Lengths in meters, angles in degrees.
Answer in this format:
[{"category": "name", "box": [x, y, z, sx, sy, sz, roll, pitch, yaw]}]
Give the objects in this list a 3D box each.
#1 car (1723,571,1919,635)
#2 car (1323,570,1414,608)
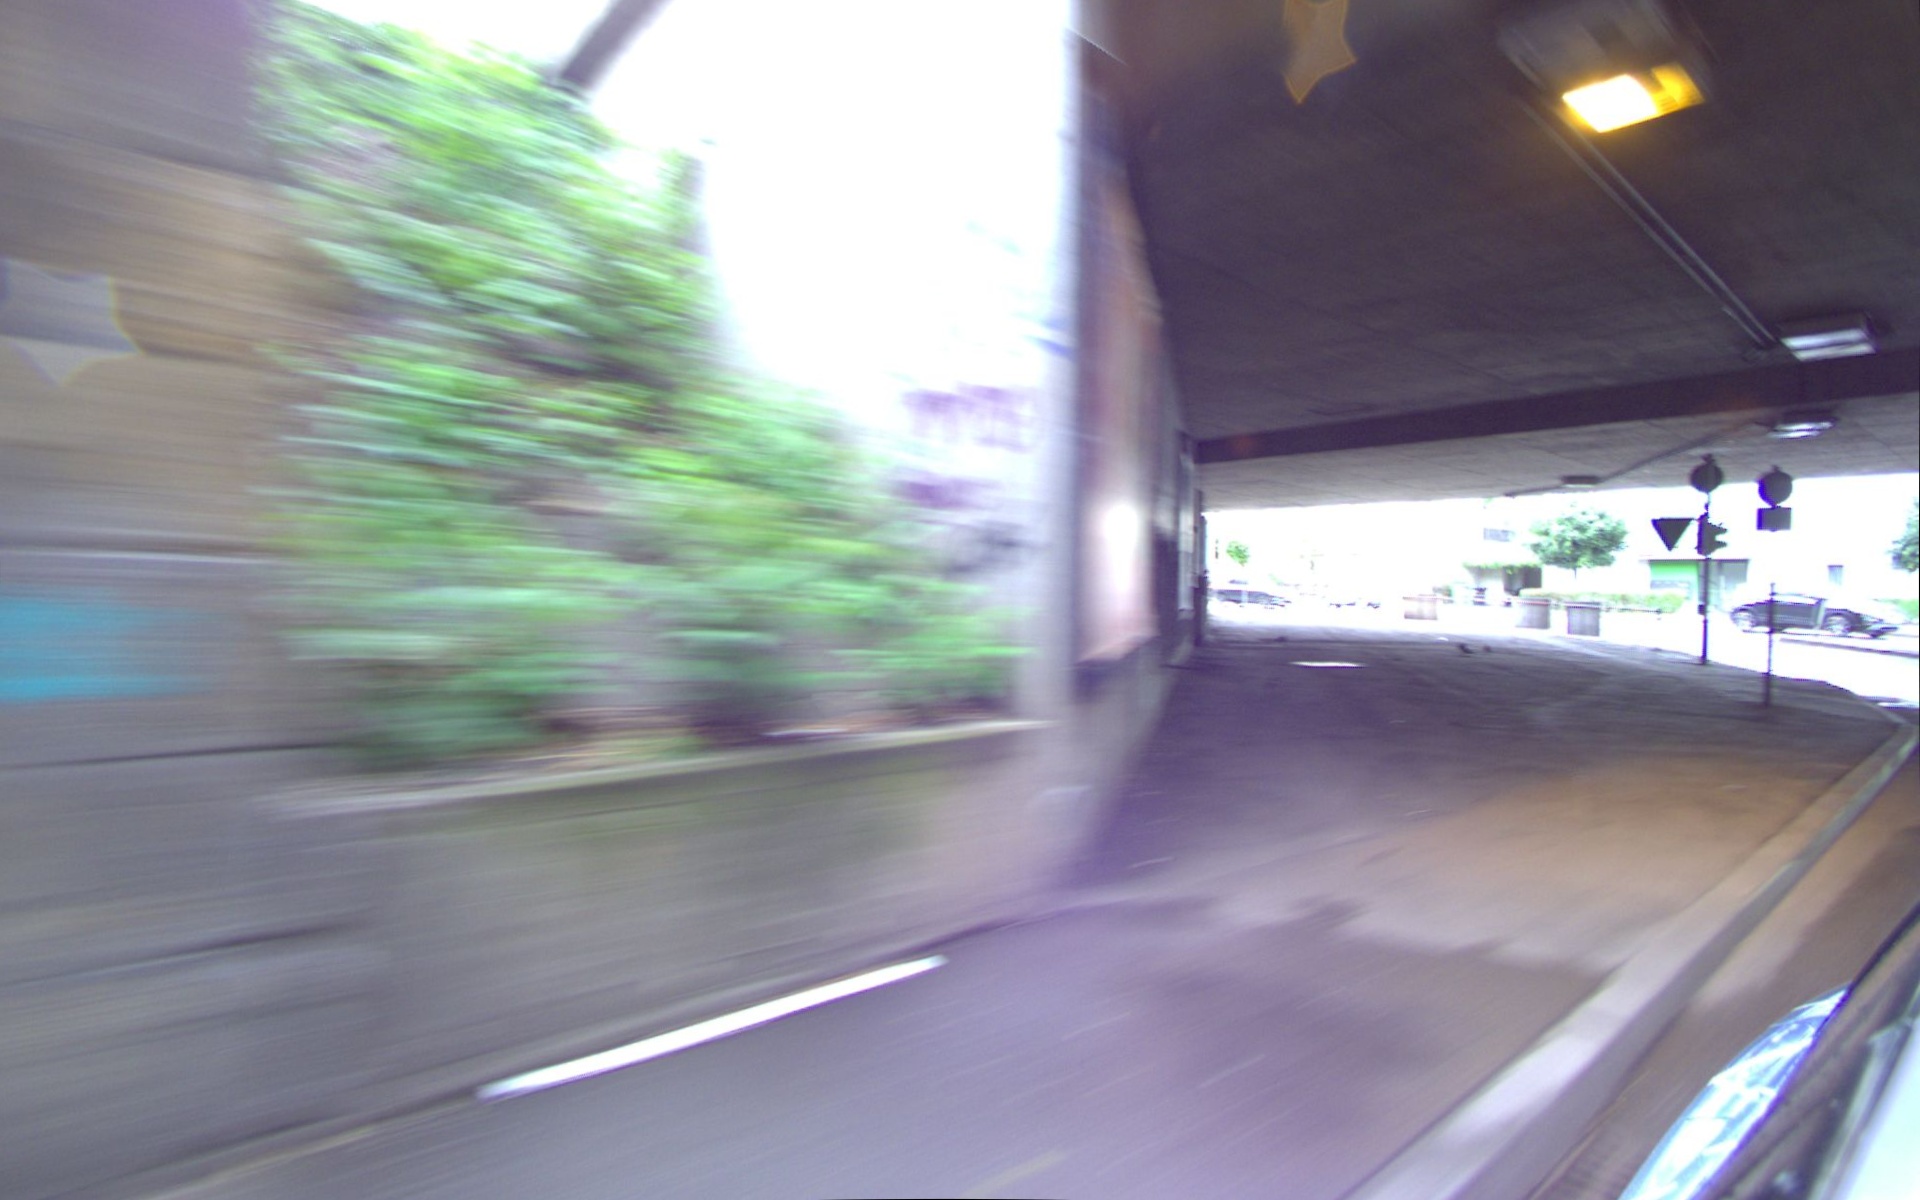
[{"category": "car", "box": [25.067, 0.025, 29.481, 1.732, 1.599, 4.245, -1, 3, -20]}, {"category": "car", "box": [19.288, -0.531, 47.872, 1.618, 1.577, 3.620, 2, 2, -44]}]
